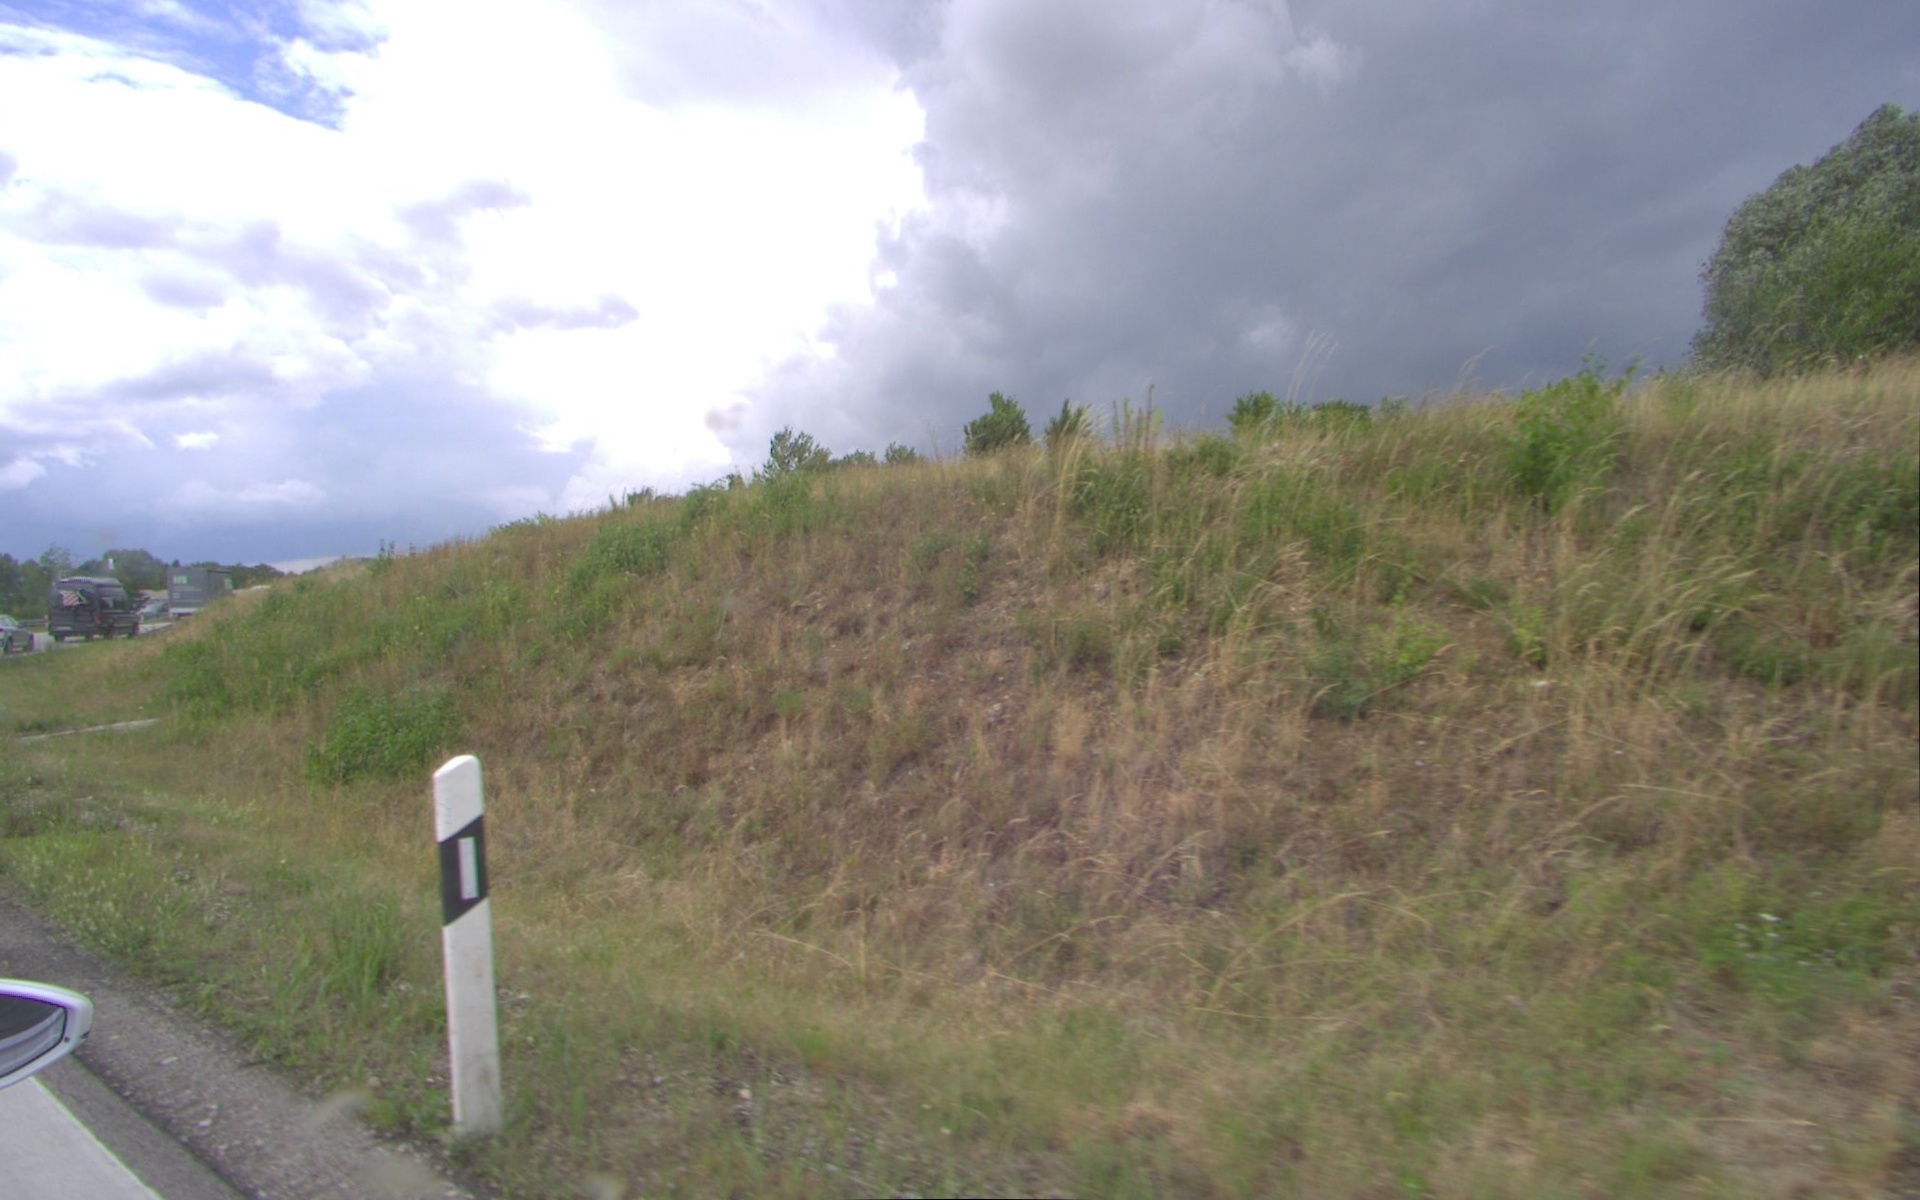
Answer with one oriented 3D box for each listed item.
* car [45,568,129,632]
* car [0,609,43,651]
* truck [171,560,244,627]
[{"bbox_3d":[-40.552,0.091,46.612,2.081,2.832,3.982,1,-2,-29],"label":"car"},{"bbox_3d":[-36.079,1.131,37.362,1.845,1.529,3.981,0,-1,-29],"label":"car"},{"bbox_3d":[-48.262,-0.302,64.379,2.198,3.955,6.003,0,-2,-21],"label":"truck"}]
